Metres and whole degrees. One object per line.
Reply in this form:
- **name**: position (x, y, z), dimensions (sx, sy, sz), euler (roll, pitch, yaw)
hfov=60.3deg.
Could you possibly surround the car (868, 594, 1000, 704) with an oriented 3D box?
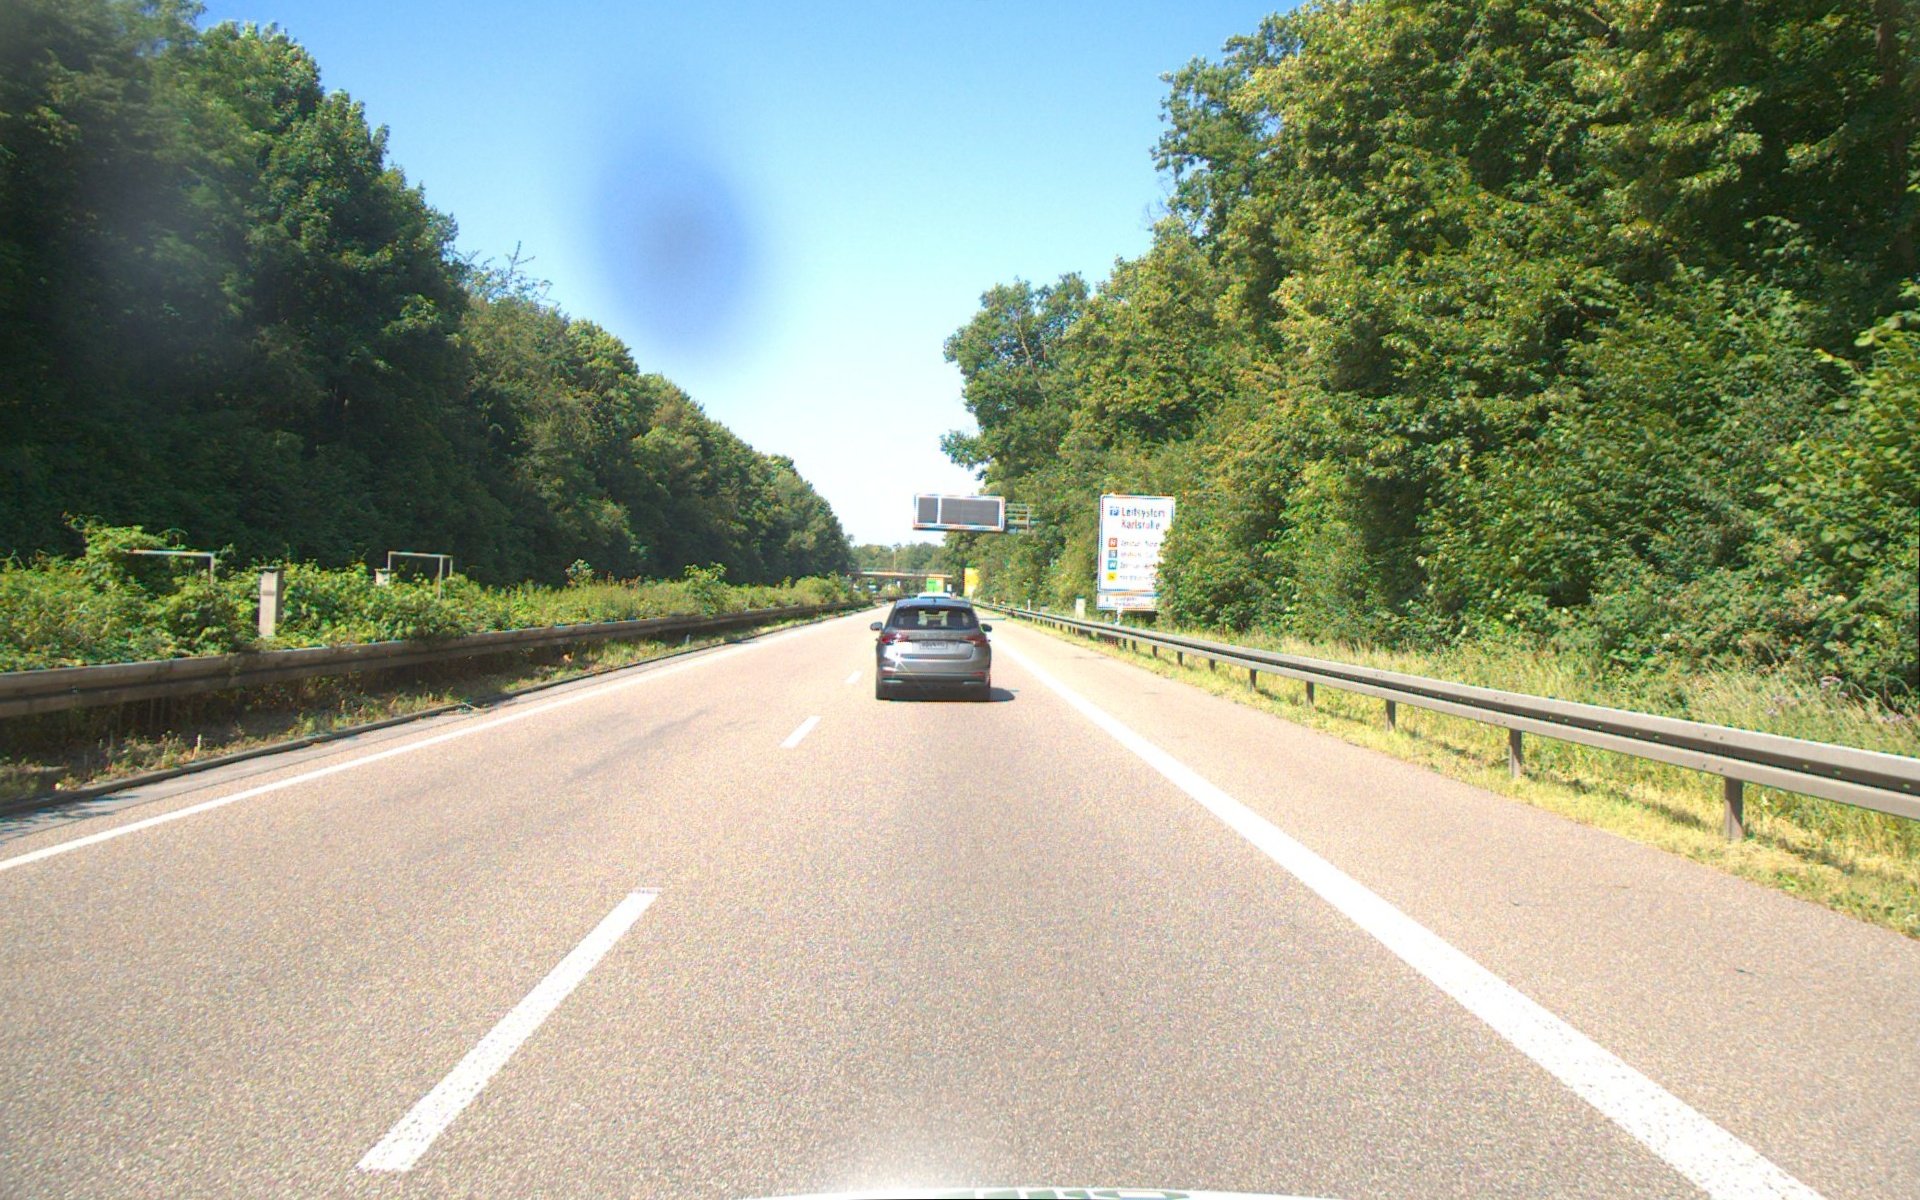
- **car**: position (-0.330, 0.669, 24.704), dimensions (1.802, 1.497, 3.624), euler (1, 0, 1)

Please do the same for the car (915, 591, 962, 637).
- **car**: position (-0.728, 0.459, 56.665), dimensions (1.491, 1.472, 3.340), euler (1, 0, 1)

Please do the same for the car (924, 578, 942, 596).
- **car**: position (-4.027, -1.940, 248.689), dimensions (2.693, 2.701, 3.999), euler (1, 0, -1)

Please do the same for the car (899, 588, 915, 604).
- **car**: position (-7.101, -0.504, 221.017), dimensions (1.953, 2.049, 3.999), euler (1, 0, -1)
